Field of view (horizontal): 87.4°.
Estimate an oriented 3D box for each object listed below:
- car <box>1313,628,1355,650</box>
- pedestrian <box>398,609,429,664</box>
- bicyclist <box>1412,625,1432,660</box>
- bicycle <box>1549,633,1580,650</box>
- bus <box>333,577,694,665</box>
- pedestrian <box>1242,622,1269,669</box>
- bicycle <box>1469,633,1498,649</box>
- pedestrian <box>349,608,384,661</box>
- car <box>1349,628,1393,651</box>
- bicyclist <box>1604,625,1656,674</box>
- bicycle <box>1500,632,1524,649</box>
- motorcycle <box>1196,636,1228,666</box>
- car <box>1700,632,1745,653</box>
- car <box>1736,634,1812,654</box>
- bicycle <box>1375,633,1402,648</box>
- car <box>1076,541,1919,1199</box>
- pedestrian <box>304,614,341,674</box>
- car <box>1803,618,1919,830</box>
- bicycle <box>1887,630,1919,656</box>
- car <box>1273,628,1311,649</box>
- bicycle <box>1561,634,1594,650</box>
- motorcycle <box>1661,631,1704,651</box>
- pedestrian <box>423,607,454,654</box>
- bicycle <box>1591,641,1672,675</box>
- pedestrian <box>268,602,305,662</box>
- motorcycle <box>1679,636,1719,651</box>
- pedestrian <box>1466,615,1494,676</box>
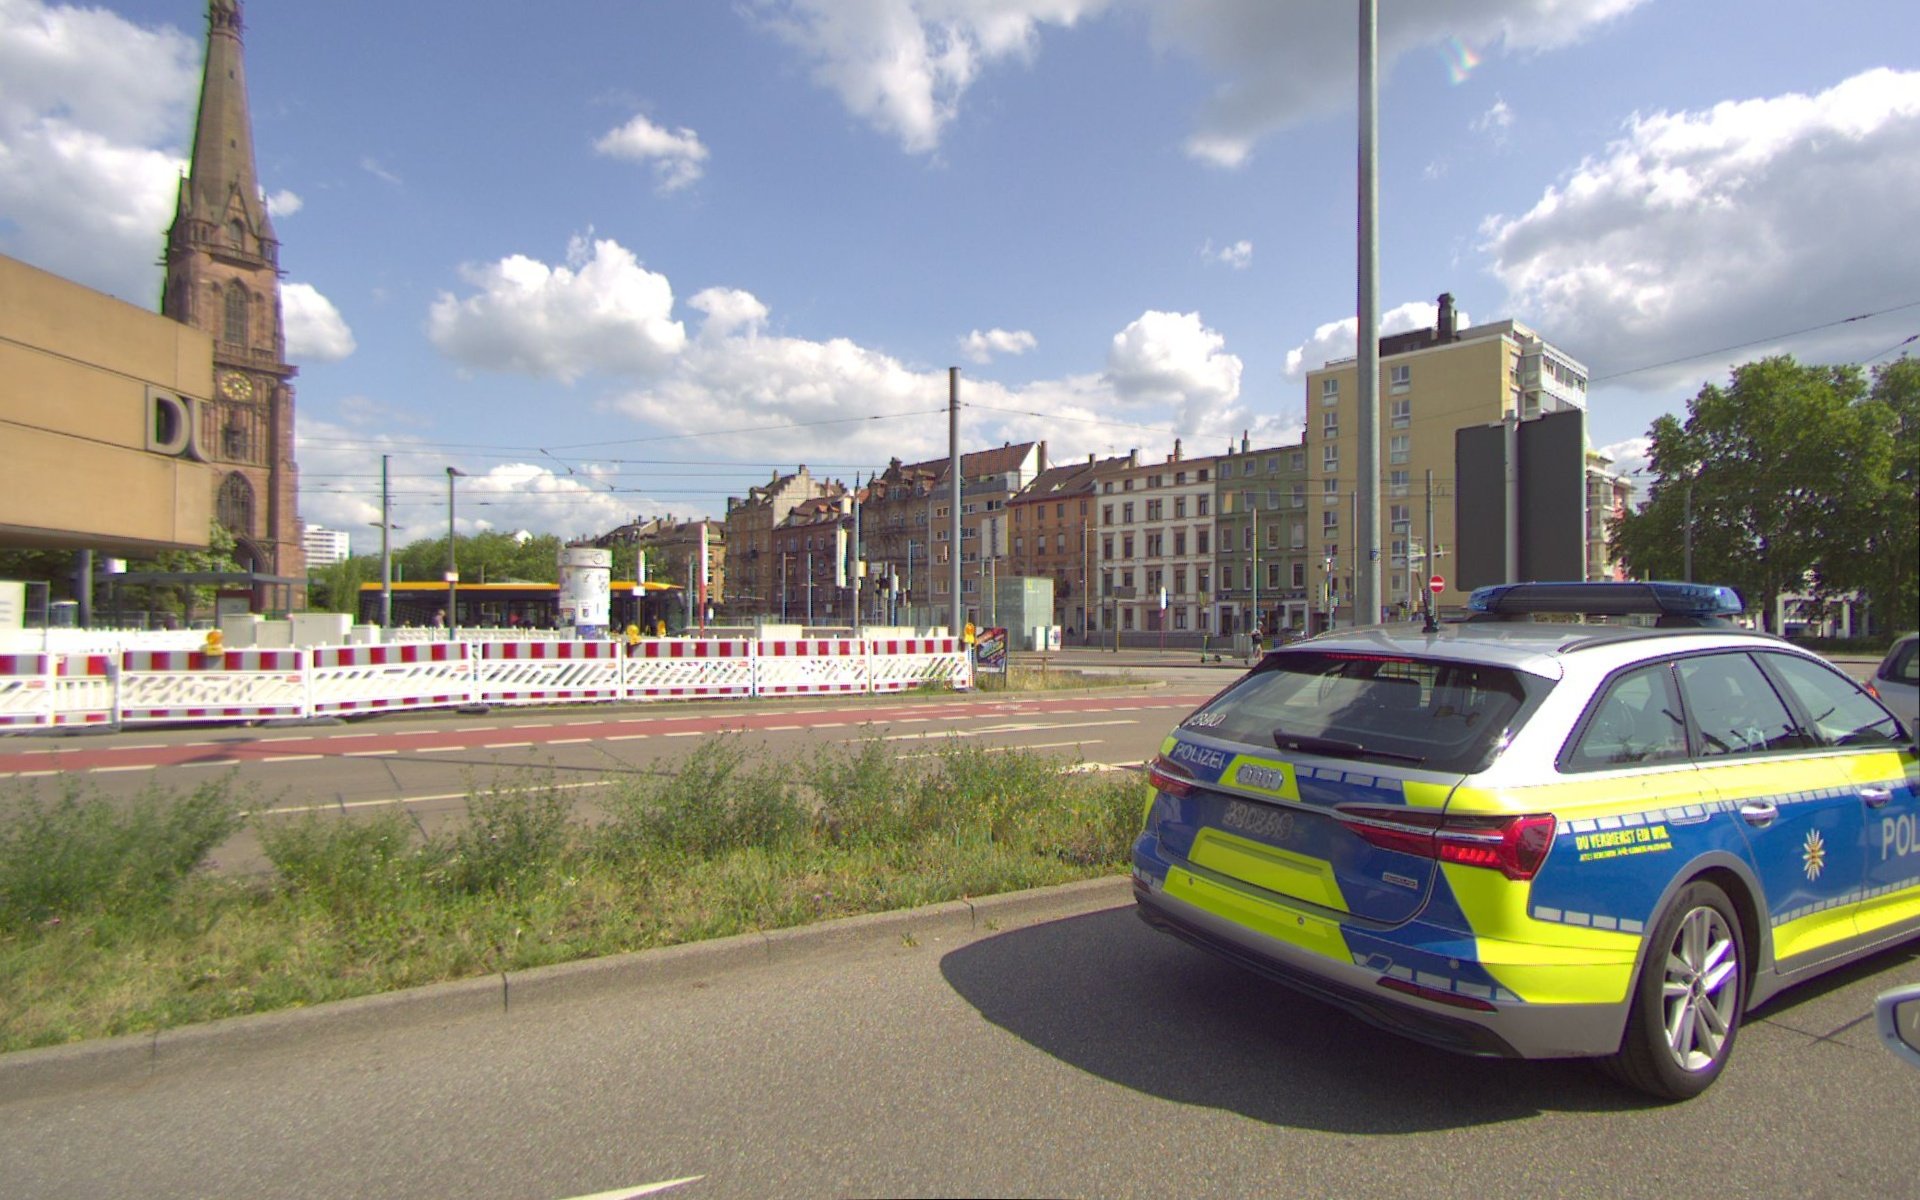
[{"bbox_3d":[27.327,2.849,73.551,1.861,1.516,3.902,1,-2,4],"label":"car"},{"bbox_3d":[-16.678,1.117,30.673,0.642,1.653,0.764,1,-1,-15],"label":"pedestrian"},{"bbox_3d":[24.481,2.245,53.242,0.768,1.821,0.706,2,0,42],"label":"bicyclist"},{"bbox_3d":[43.550,2.973,72.403,1.784,1.162,0.792,0,-1,43],"label":"bicycle"},{"bbox_3d":[-16.826,0.808,38.377,12.584,3.177,2.835,0,-1,2],"label":"bus"},{"bbox_3d":[11.812,1.791,40.146,0.754,1.821,1.026,2,0,31],"label":"pedestrian"},{"bbox_3d":[38.608,3.011,74.038,1.783,1.118,0.792,0,-1,42],"label":"bicycle"},{"bbox_3d":[-18.509,1.073,31.345,0.640,1.653,0.765,1,-1,-4],"label":"pedestrian"},{"bbox_3d":[29.681,2.864,72.580,1.861,1.516,3.903,1,-2,5],"label":"car"},{"bbox_3d":[24.637,1.817,36.922,0.984,1.753,1.290,2,-2,-32],"label":"bicyclist"},{"bbox_3d":[40.710,2.976,74.099,1.791,1.275,0.789,1,-1,-34],"label":"bicycle"},{"bbox_3d":[10.617,2.146,42.328,0.478,1.253,1.437,2,-2,-27],"label":"motorcycle"},{"bbox_3d":[55.420,3.109,73.010,3.970,1.432,1.888,4,-4,-42],"label":"car"},{"bbox_3d":[59.029,3.174,72.891,1.615,1.344,3.967,3,-3,-31],"label":"car"},{"bbox_3d":[33.774,3.199,79.229,1.783,1.118,0.792,0,-1,42],"label":"bicycle"},{"bbox_3d":[2.886,0.716,4.350,4.561,1.589,1.871,1,-2,-31],"label":"car"},{"bbox_3d":[-17.749,1.216,27.959,0.760,1.653,0.645,2,-1,-41],"label":"pedestrian"},{"bbox_3d":[8.581,0.911,7.862,3.953,1.494,1.839,1,-2,-30],"label":"car"},{"bbox_3d":[54.446,2.441,57.368,0.807,1.433,2.146,0,0,-44],"label":"bicycle"},{"bbox_3d":[25.144,2.913,76.209,1.861,1.516,3.902,1,-2,4],"label":"car"},{"bbox_3d":[44.788,3.027,72.822,1.922,1.162,0.792,-1,-1,43],"label":"bicycle"},{"bbox_3d":[46.847,2.661,65.152,0.890,1.254,2.214,0,-1,-12],"label":"motorcycle"},{"bbox_3d":[-18.650,1.101,35.912,0.751,1.653,0.652,1,-1,-4],"label":"pedestrian"},{"bbox_3d":[24.635,2.122,36.879,0.984,1.204,2.281,2,-3,-32],"label":"bicycle"},{"bbox_3d":[-18.821,0.893,28.077,0.549,1.651,0.732,1,-1,-7],"label":"pedestrian"},{"bbox_3d":[50.426,2.972,68.562,2.003,0.929,0.812,-1,-1,7],"label":"motorcycle"},{"bbox_3d":[16.906,1.457,32.656,0.753,1.928,0.825,2,0,29],"label":"pedestrian"}]
